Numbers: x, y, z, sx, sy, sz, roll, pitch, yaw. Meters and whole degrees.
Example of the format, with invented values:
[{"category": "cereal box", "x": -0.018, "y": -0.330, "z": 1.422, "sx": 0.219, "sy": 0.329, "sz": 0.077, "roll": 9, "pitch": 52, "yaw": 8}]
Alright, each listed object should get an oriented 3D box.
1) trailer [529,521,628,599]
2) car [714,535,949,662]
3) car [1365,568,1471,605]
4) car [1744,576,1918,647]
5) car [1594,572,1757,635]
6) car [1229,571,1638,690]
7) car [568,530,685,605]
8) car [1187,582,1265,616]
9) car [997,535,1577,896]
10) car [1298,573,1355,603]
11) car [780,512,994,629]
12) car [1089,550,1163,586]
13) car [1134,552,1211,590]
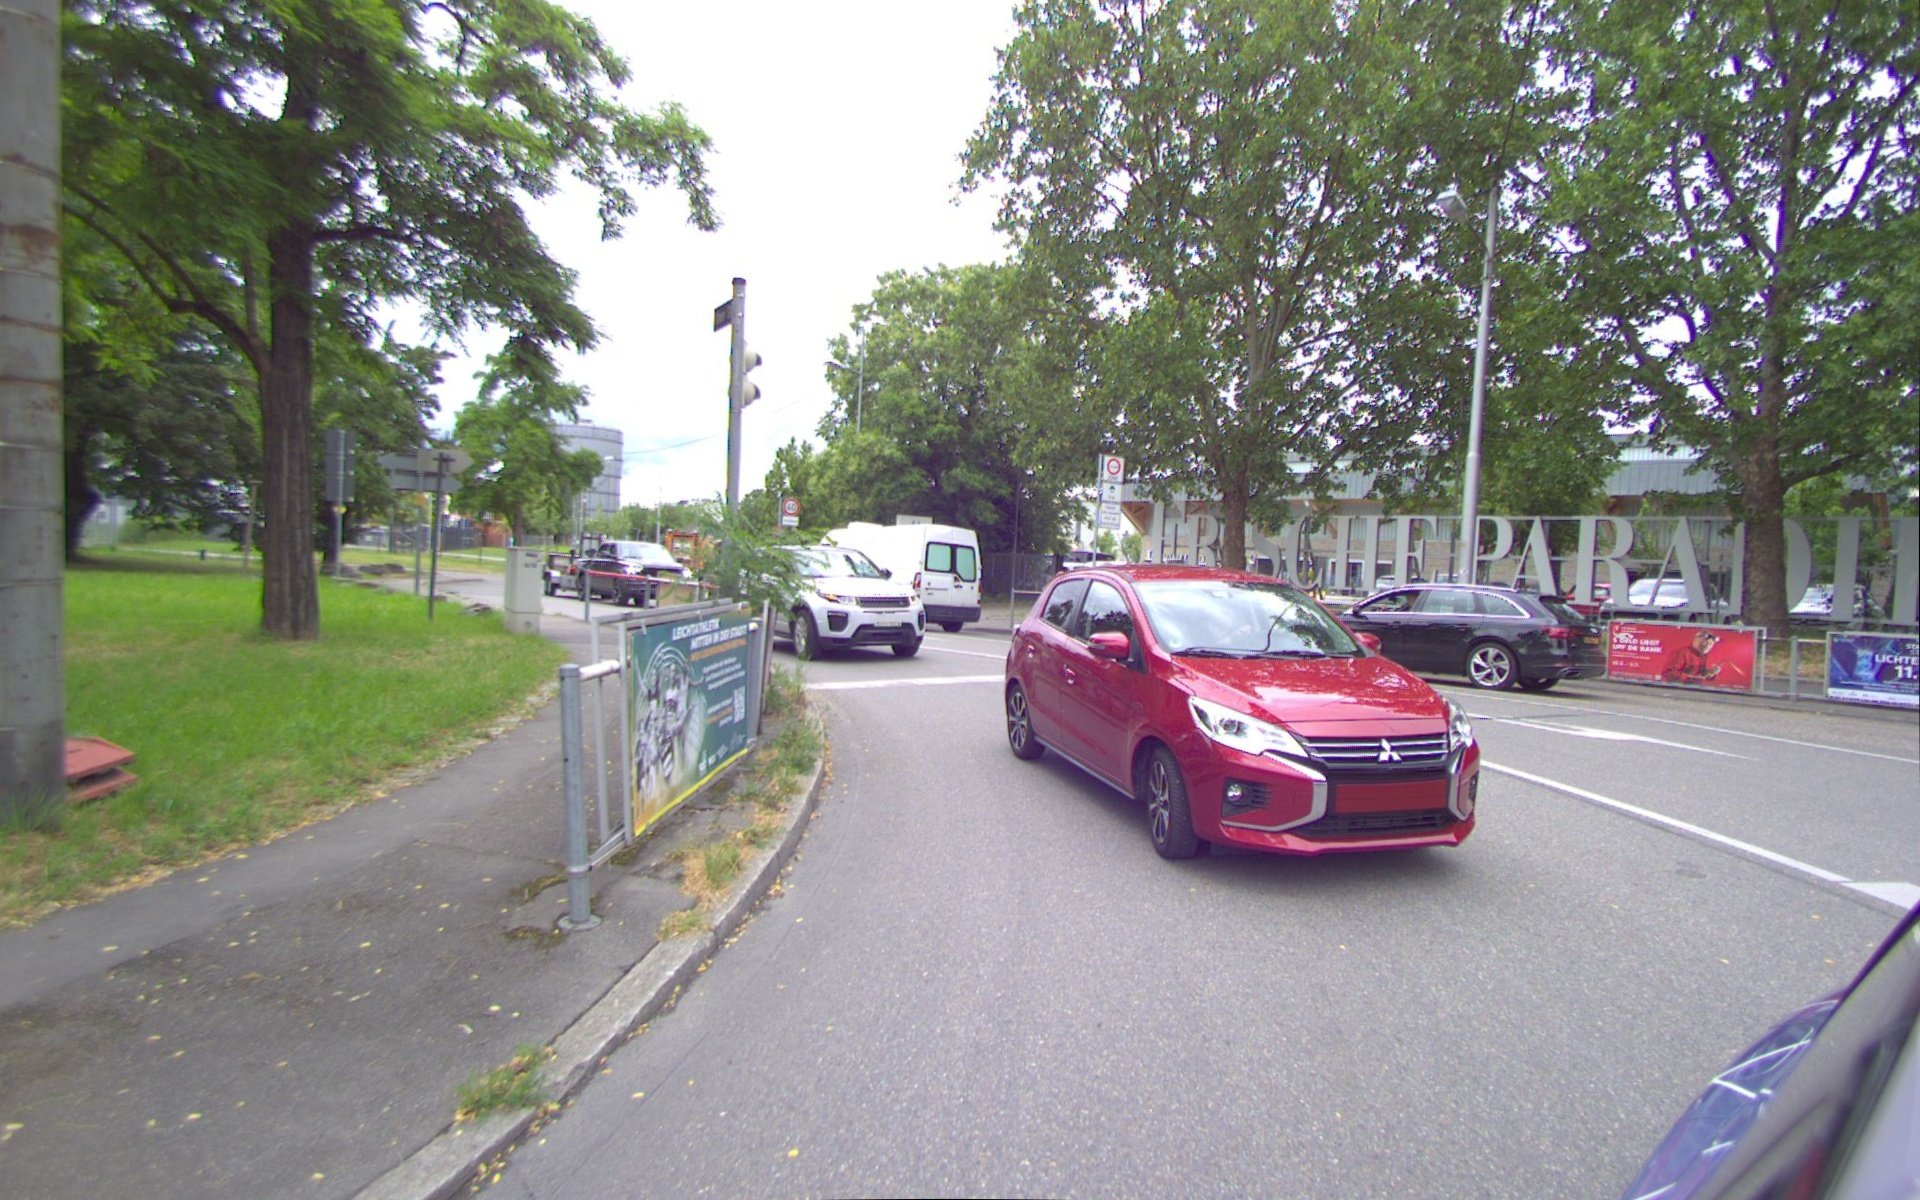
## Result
[{"category": "trailer", "x": -13.344, "y": -1.433, "z": 35.184, "sx": 2.109, "sy": 2.416, "sz": 5.394, "roll": 2, "pitch": 2, "yaw": -32}, {"category": "car", "x": -2.109, "y": -0.151, "z": 15.513, "sx": 1.881, "sy": 1.588, "sz": 4.116, "roll": -2, "pitch": 5, "yaw": -35}, {"category": "car", "x": 19.187, "y": -0.562, "z": 42.339, "sx": 5.157, "sy": 1.449, "sz": 1.937, "roll": -1, "pitch": 0, "yaw": -39}, {"category": "car", "x": 20.024, "y": 0.214, "z": 23.217, "sx": 4.611, "sy": 1.476, "sz": 2.000, "roll": -1, "pitch": 0, "yaw": -35}, {"category": "car", "x": 18.348, "y": 0.045, "z": 25.881, "sx": 4.611, "sy": 1.476, "sz": 2.000, "roll": -1, "pitch": 0, "yaw": -35}, {"category": "car", "x": 6.825, "y": 0.358, "z": 15.149, "sx": 1.965, "sy": 1.476, "sz": 5.213, "roll": -1, "pitch": 1, "yaw": -41}, {"category": "car", "x": -10.160, "y": -1.060, "z": 30.465, "sx": 1.913, "sy": 2.003, "sz": 5.877, "roll": 0, "pitch": 4, "yaw": -33}, {"category": "car", "x": 13.022, "y": -0.033, "z": 49.483, "sx": 3.934, "sy": 1.526, "sz": 1.913, "roll": 1, "pitch": 3, "yaw": -45}, {"category": "car", "x": 1.581, "y": 0.436, "z": 6.353, "sx": 1.731, "sy": 1.549, "sz": 3.749, "roll": 1, "pitch": 2, "yaw": -13}, {"category": "car", "x": 21.240, "y": -0.693, "z": 58.558, "sx": 3.513, "sy": 1.705, "sz": 1.749, "roll": -1, "pitch": 0, "yaw": -44}, {"category": "car", "x": -2.046, "y": -0.673, "z": 25.551, "sx": 2.153, "sy": 2.573, "sz": 6.478, "roll": 0, "pitch": 0, "yaw": -38}, {"category": "car", "x": 8.936, "y": -1.716, "z": 54.390, "sx": 3.934, "sy": 1.721, "sz": 1.913, "roll": 1, "pitch": 3, "yaw": -45}, {"category": "car", "x": 10.852, "y": -1.491, "z": 51.637, "sx": 3.934, "sy": 1.721, "sz": 1.913, "roll": 1, "pitch": 3, "yaw": -45}]
